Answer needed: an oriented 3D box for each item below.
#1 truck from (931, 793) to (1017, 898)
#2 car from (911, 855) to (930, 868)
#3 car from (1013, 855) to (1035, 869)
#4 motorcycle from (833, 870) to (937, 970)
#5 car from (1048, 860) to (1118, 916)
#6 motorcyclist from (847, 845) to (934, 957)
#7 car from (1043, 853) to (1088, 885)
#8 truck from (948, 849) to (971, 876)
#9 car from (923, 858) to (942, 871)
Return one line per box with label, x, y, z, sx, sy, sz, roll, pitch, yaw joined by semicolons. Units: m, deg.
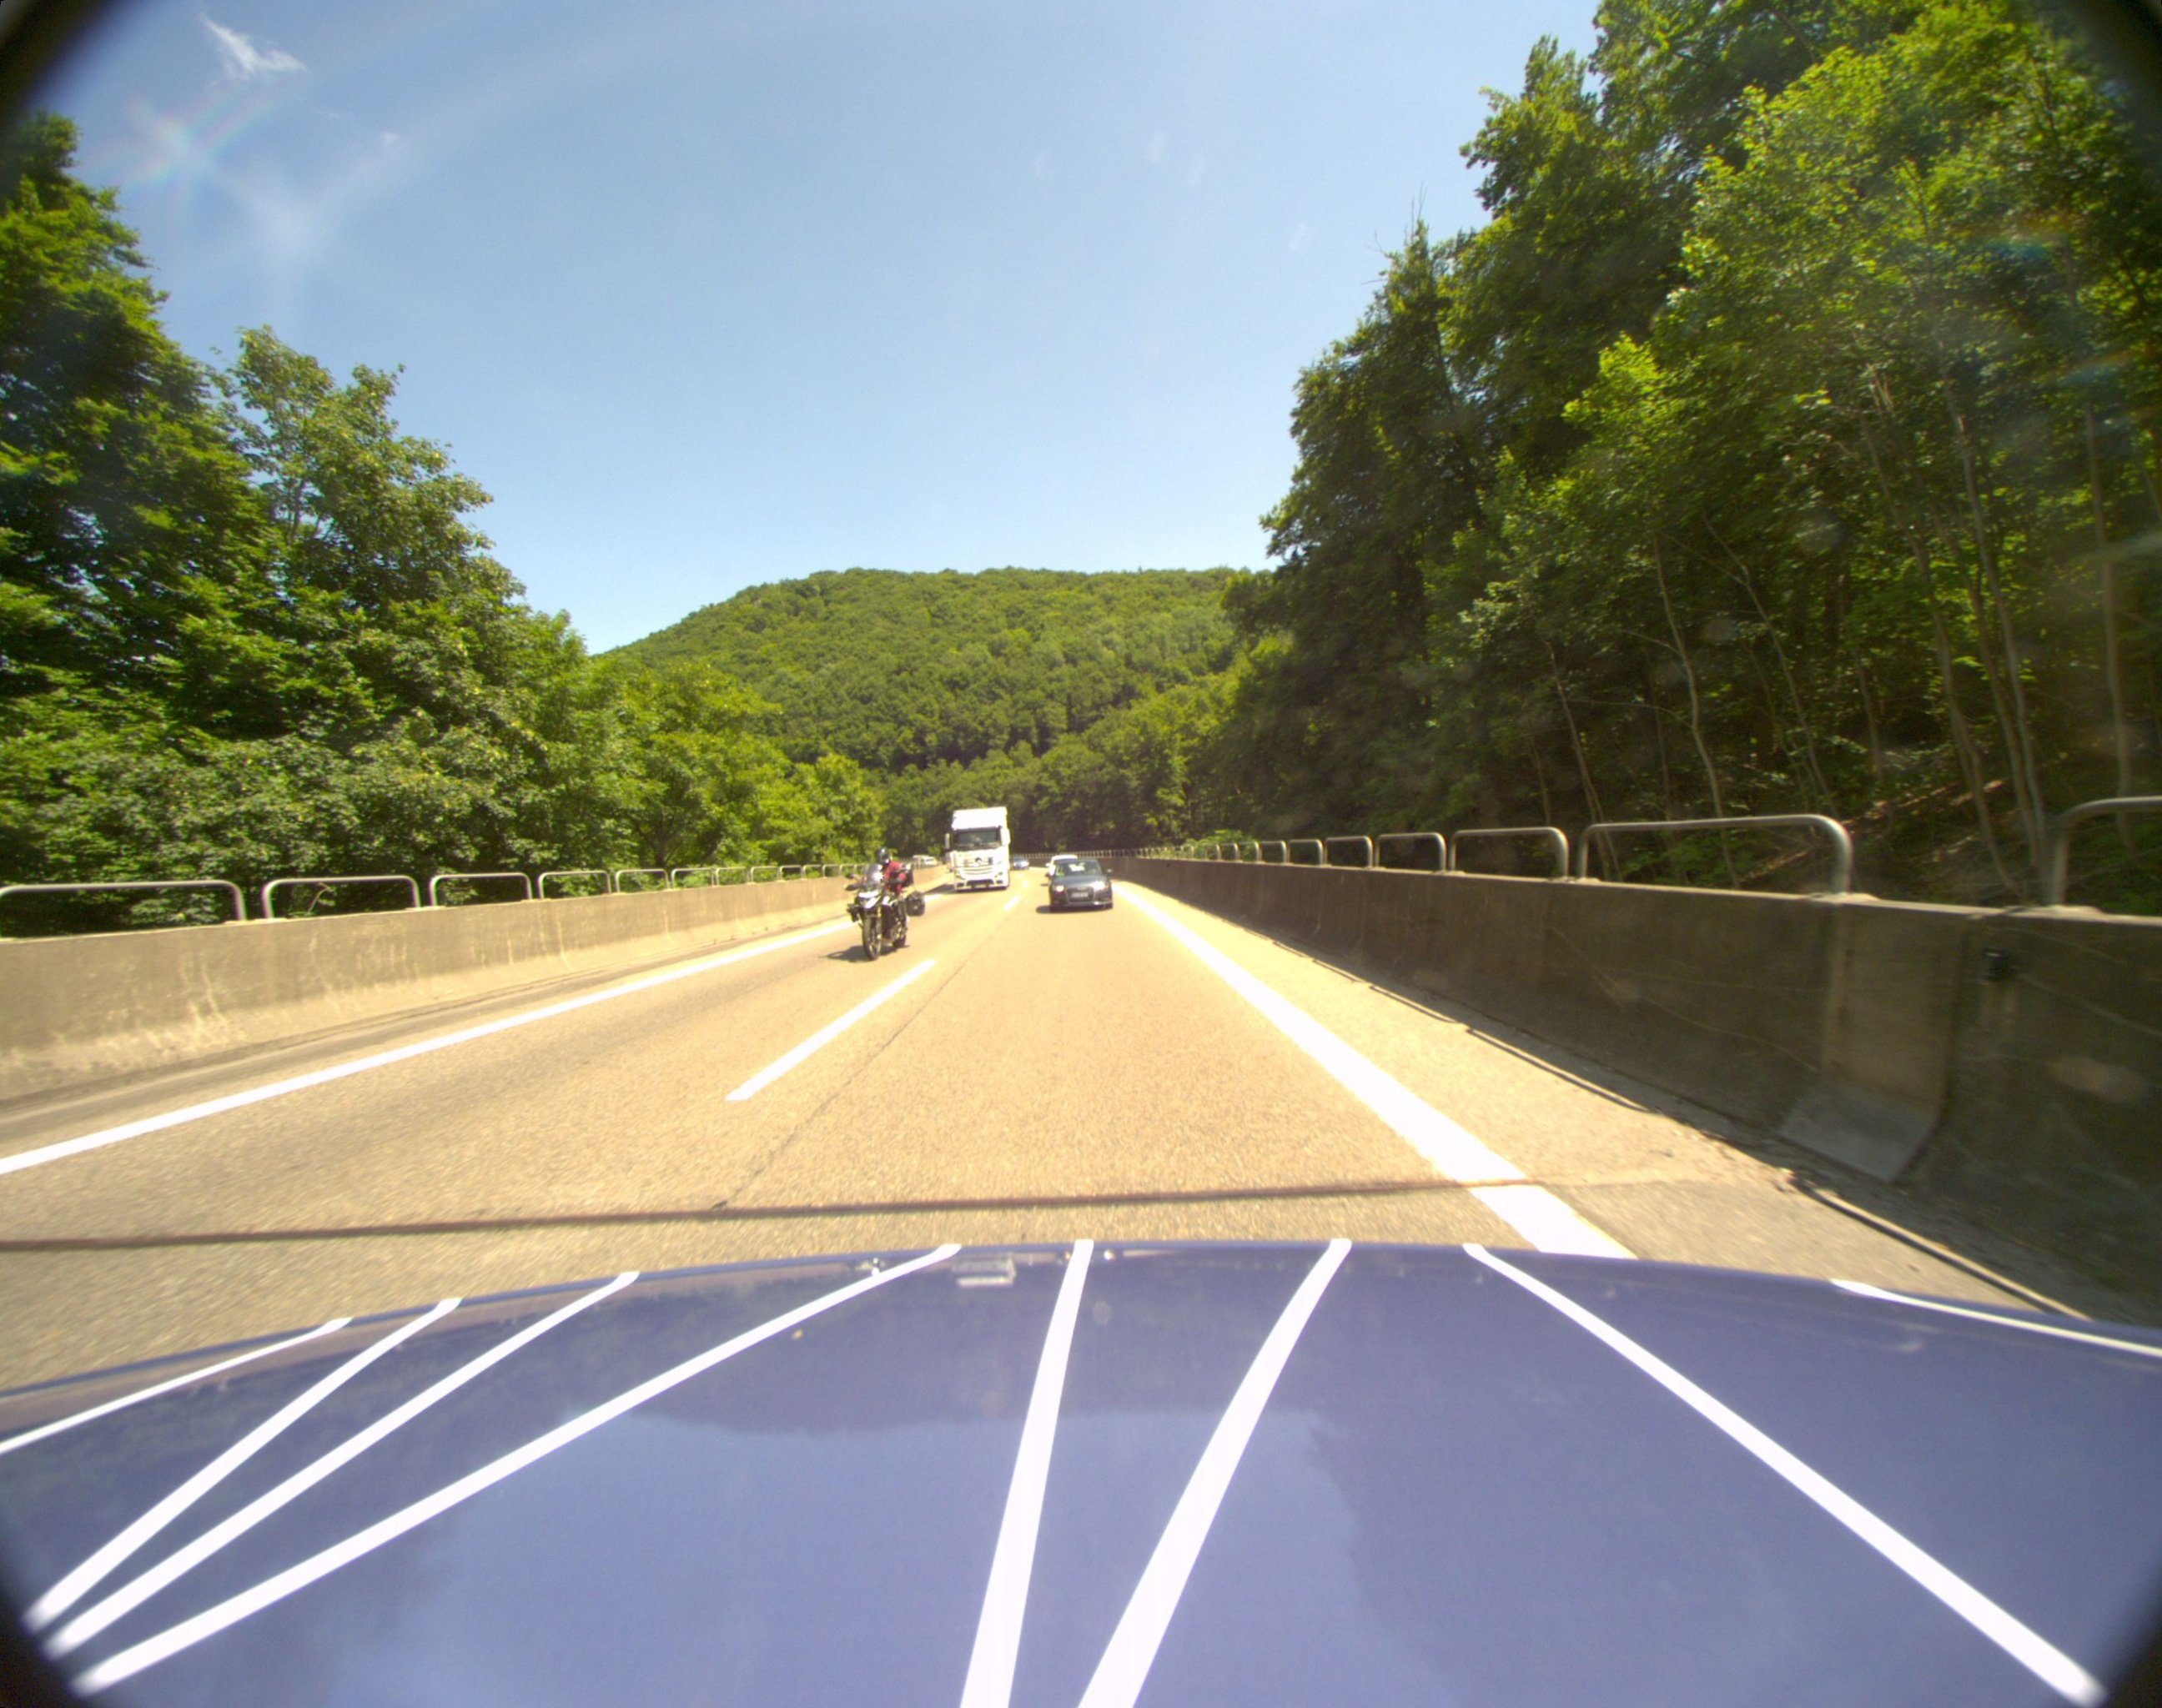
truck;-5.086;-0.304;39.475;2.970;4.108;16.701;-4;0;-4
car;-26.747;1.275;126.307;2.003;2.002;3.991;-2;0;-27
car;-6.263;0.855;83.104;1.757;1.480;3.978;-2;0;-12
motorcycle;-3.217;1.032;12.800;0.975;1.411;2.681;-2;0;1
car;0.014;0.888;21.517;1.755;1.350;4.121;-2;0;-1
motorcyclist;-3.231;0.766;13.030;1.063;1.790;1.338;-2;1;1
car;-0.859;0.740;39.549;1.756;1.460;3.979;-5;1;-7
truck;-15.286;1.081;95.687;2.618;3.084;6.850;-4;0;-9
car;-23.120;1.675;118.517;2.002;2.002;3.992;-2;0;-24
